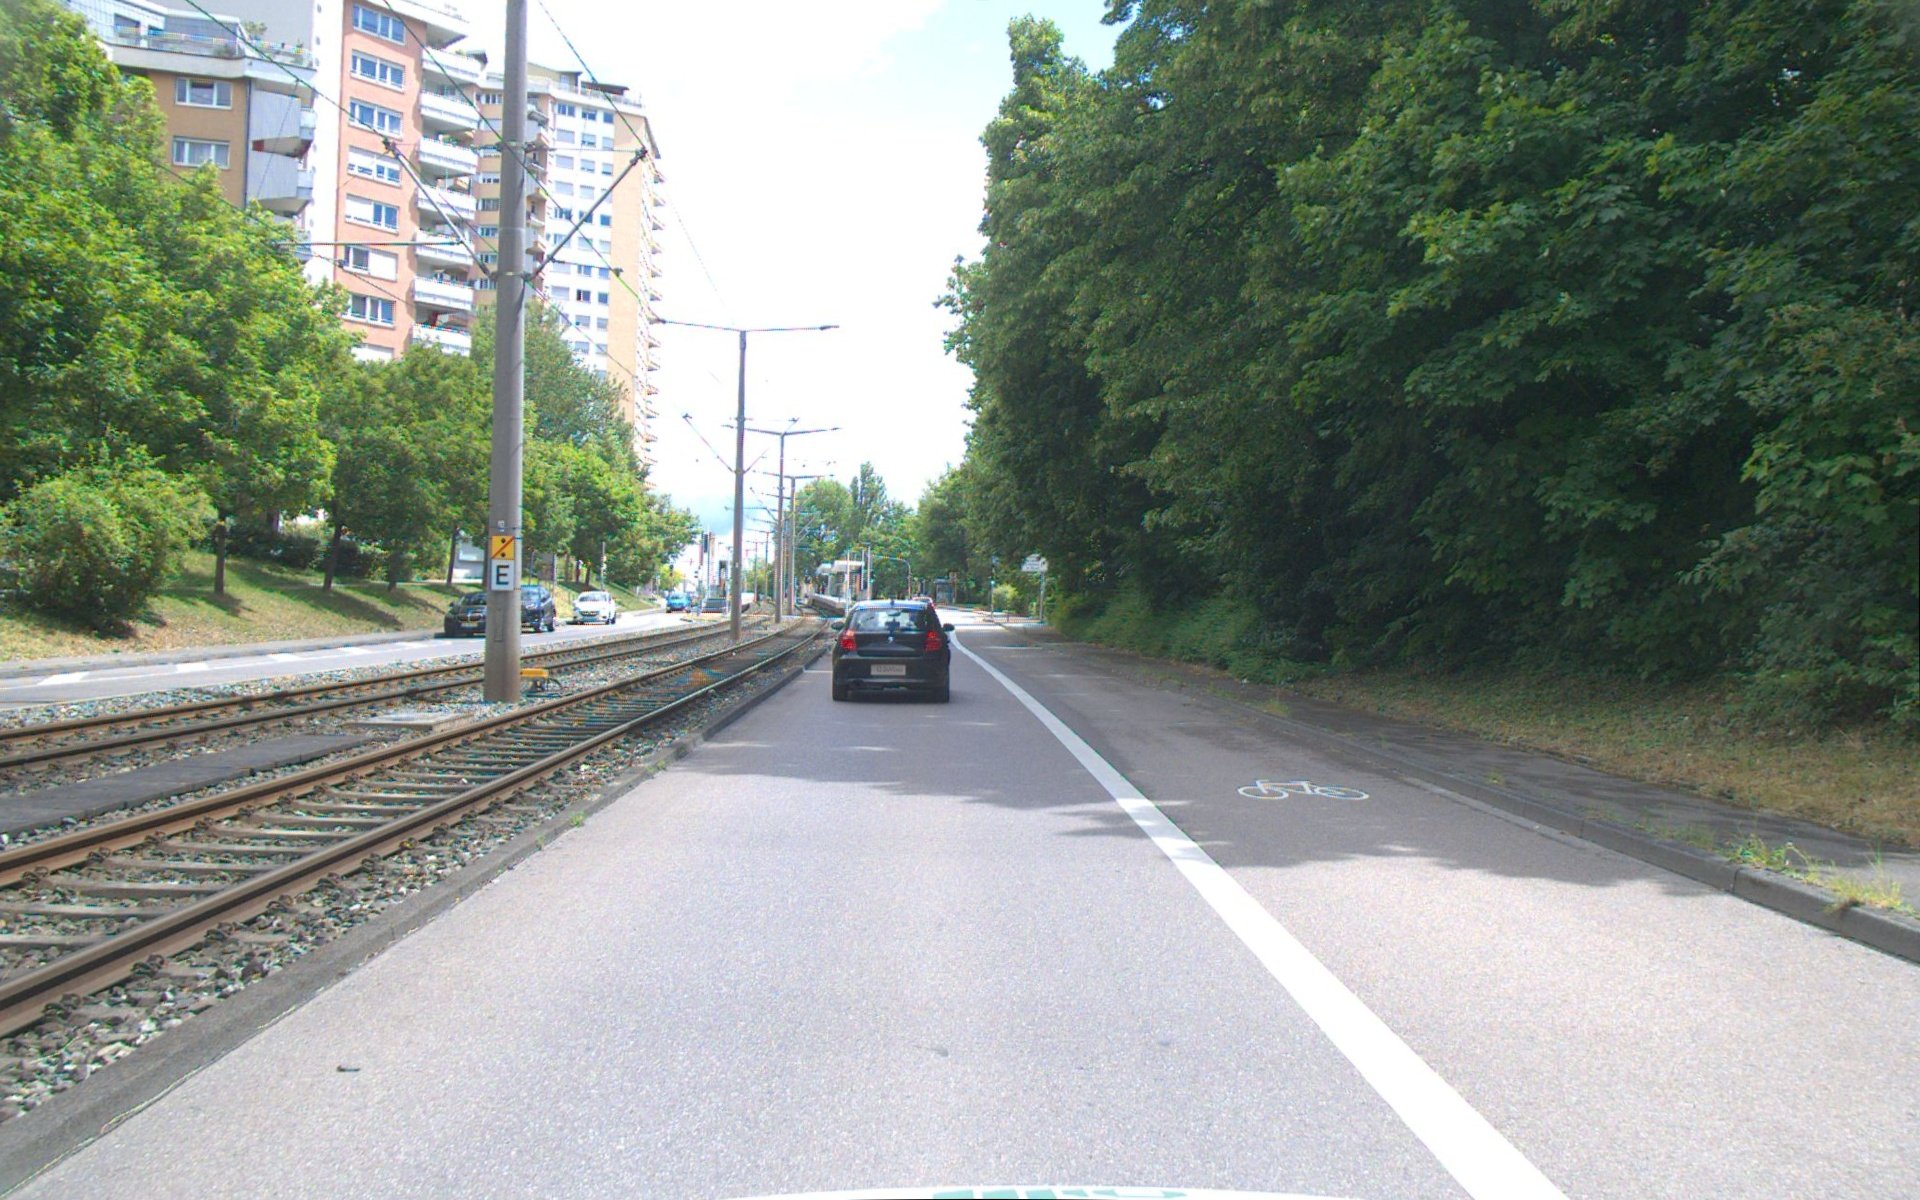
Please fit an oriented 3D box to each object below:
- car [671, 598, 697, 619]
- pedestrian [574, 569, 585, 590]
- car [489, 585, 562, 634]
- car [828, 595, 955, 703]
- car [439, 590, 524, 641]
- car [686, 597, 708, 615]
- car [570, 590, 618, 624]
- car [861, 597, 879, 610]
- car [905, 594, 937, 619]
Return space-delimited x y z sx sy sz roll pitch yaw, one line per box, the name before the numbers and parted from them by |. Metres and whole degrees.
car | -20.280 0.615 121.638 1.685 1.467 3.930 1 0 -12
pedestrian | -29.135 -1.578 126.569 0.620 1.561 0.635 0 0 16
car | -15.530 0.350 59.294 1.739 1.658 4.378 0 -1 -4
car | -1.053 0.671 24.726 1.746 1.485 3.918 0 0 -3
car | -15.145 0.470 52.560 1.739 1.525 3.994 1 0 -4
car | -23.160 0.530 145.730 1.682 1.591 3.693 1 0 -5
car | -16.871 0.311 76.387 1.747 1.559 4.238 0 0 -7
car | -10.771 0.407 197.573 1.873 1.485 3.996 1 0 -7
car | -2.427 0.367 101.742 1.746 1.485 3.917 1 0 -5
